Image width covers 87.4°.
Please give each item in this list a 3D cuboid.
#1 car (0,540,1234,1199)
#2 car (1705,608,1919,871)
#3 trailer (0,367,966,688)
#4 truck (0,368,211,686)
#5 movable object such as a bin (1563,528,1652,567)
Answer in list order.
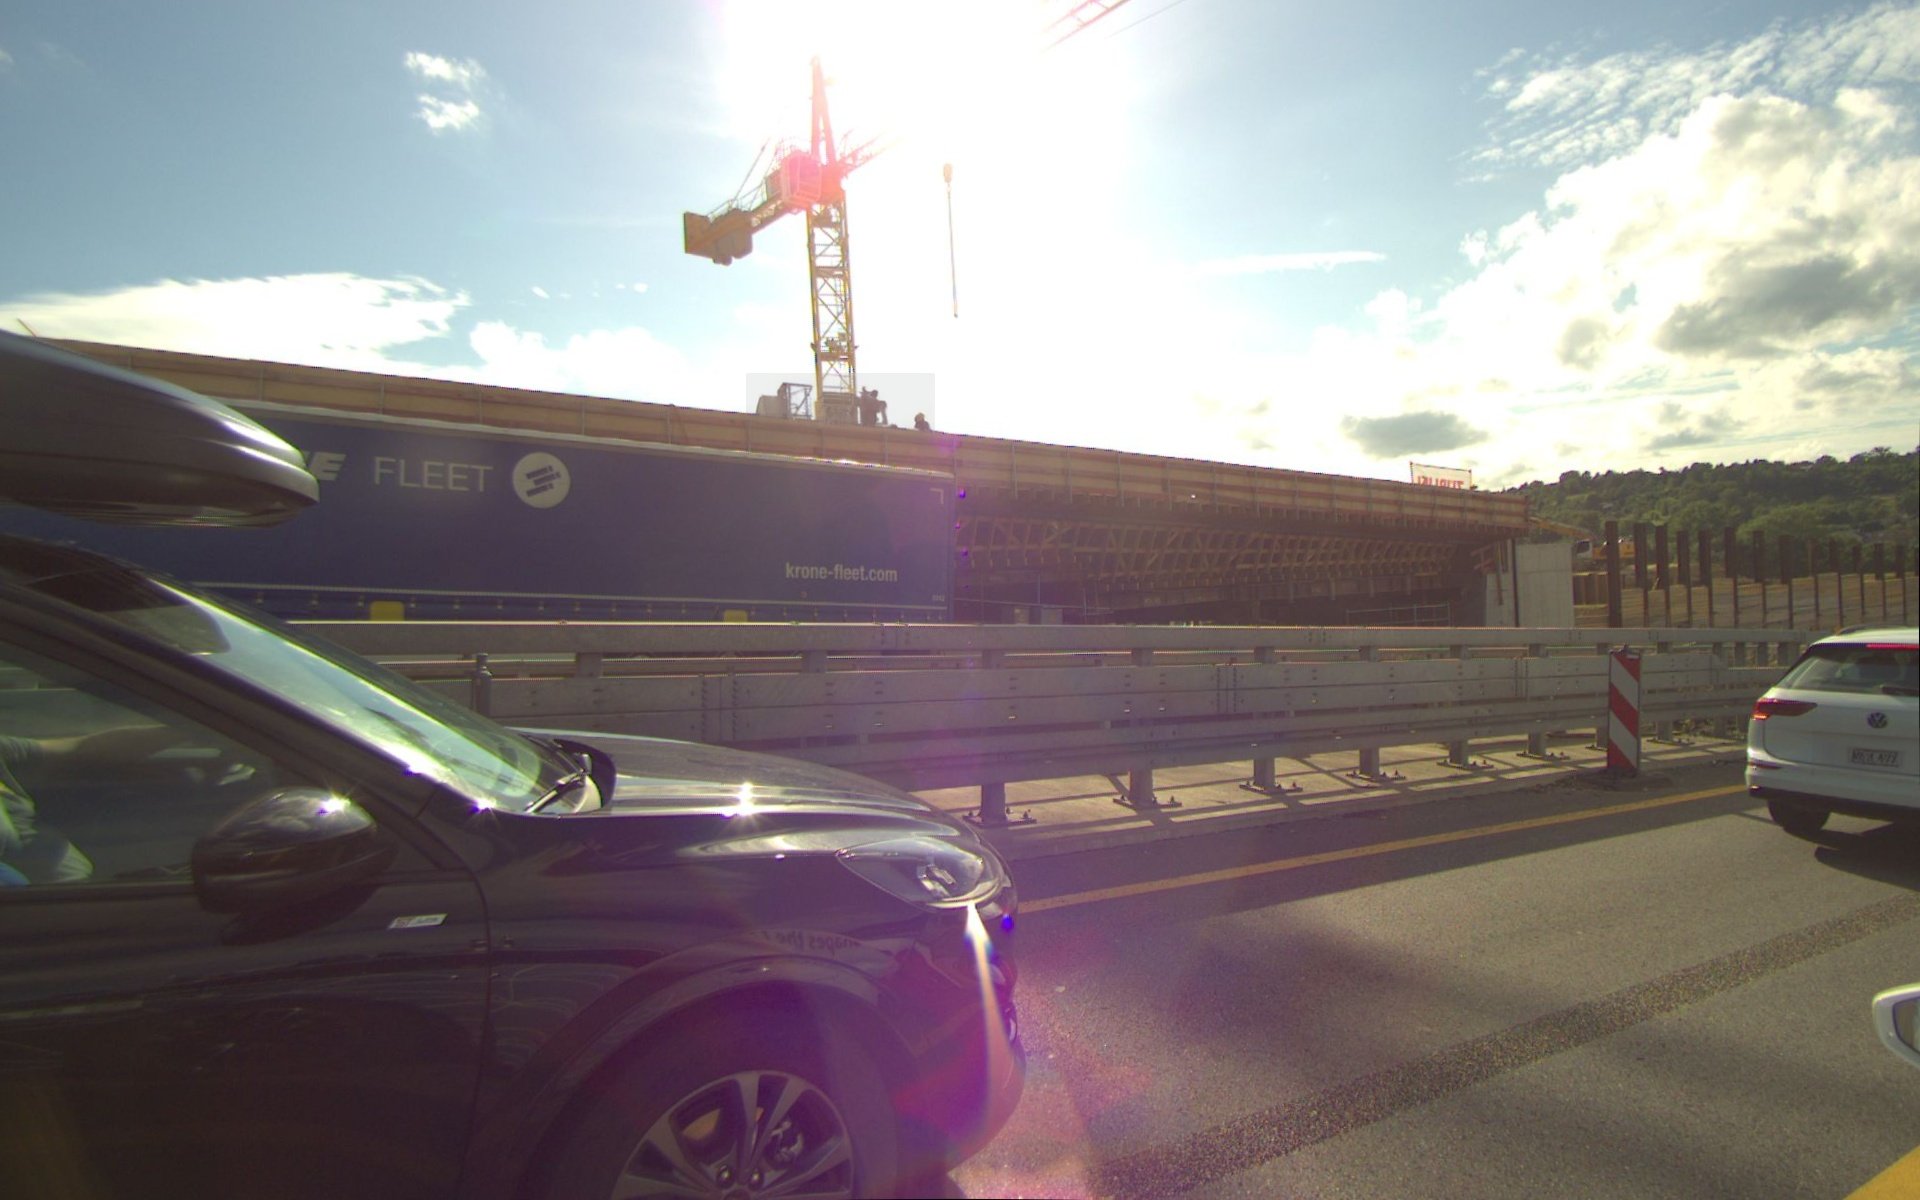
[{"bbox_3d":[-1.718,0.674,1.976,4.333,1.563,1.791,3,1,-30],"label":"car"},{"bbox_3d":[7.373,0.862,7.081,4.462,1.510,1.762,2,-2,-30],"label":"car"},{"bbox_3d":[-6.381,-0.645,16.149,13.373,3.715,2.848,2,0,-31],"label":"trailer"},{"bbox_3d":[-12.518,-0.876,12.445,4.753,3.677,2.829,2,0,-30],"label":"truck"},{"bbox_3d":[63.100,-5.054,97.995,4.439,3.314,5.743,2,0,-17],"label":"movable object such as a bin"}]
